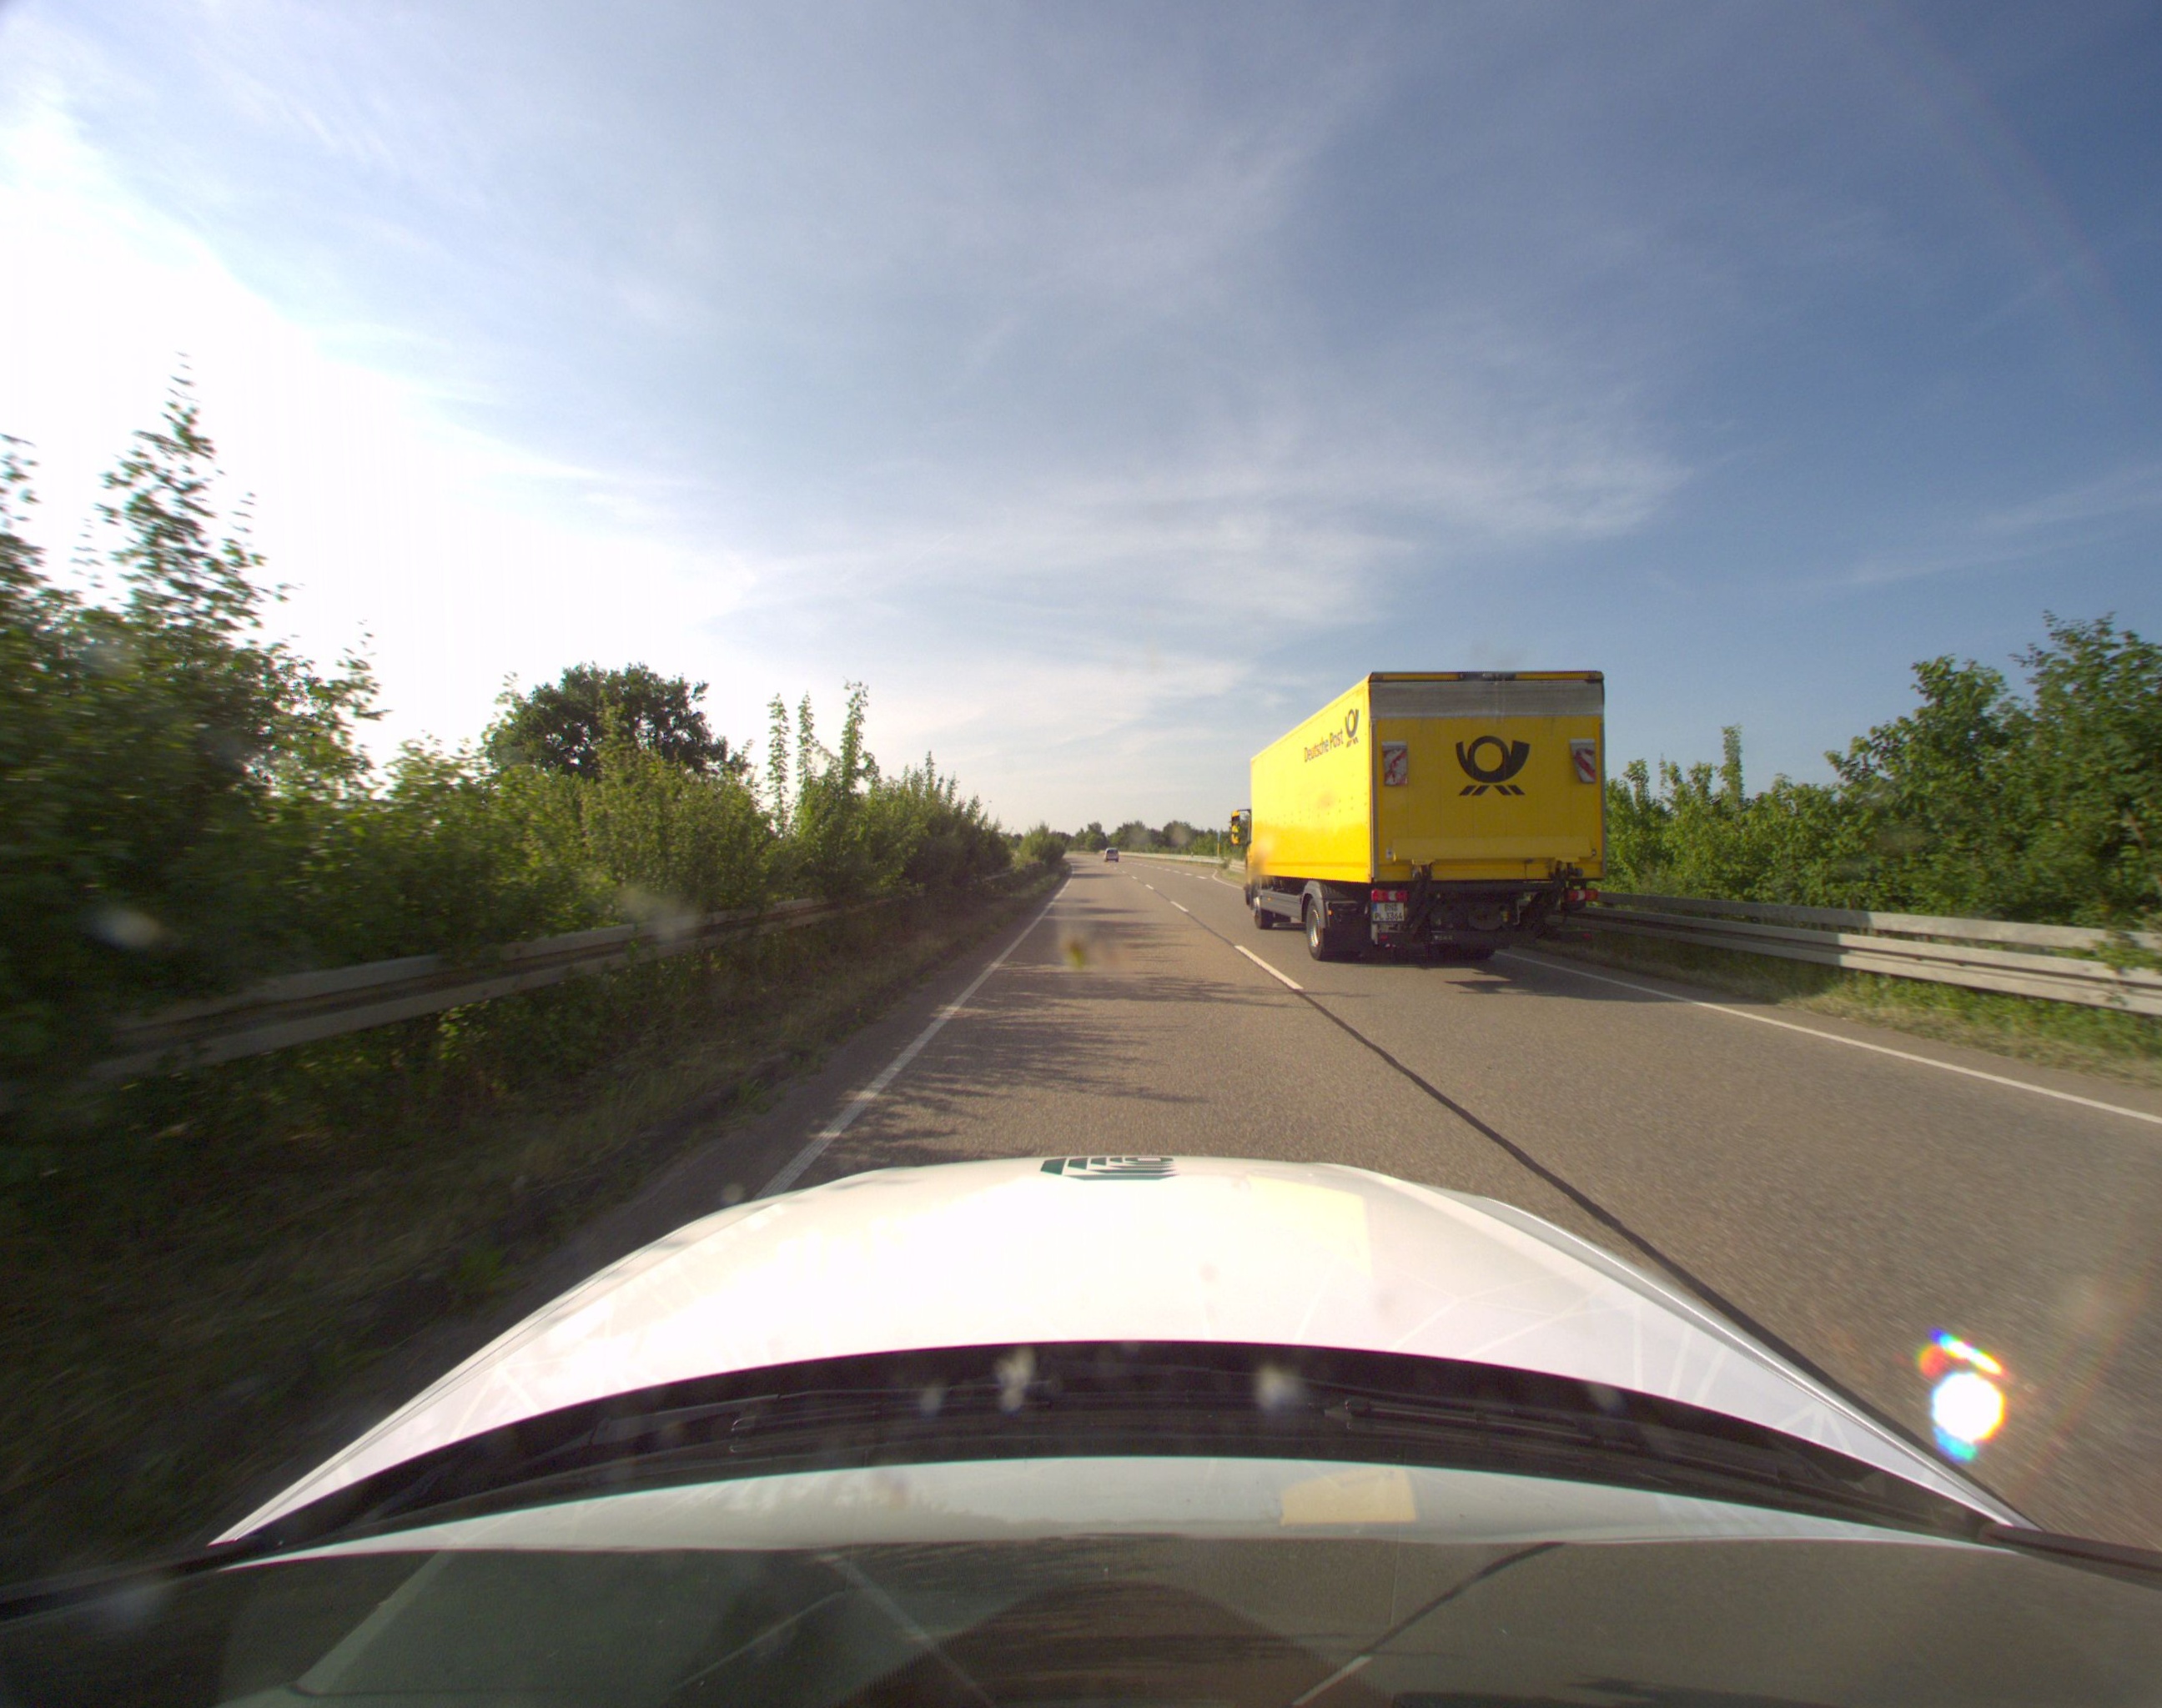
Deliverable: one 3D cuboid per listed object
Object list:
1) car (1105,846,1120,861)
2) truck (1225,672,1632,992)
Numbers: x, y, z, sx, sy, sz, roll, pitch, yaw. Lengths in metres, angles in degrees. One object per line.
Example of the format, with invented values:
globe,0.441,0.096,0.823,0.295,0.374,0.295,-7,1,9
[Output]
car,4.106,-0.051,106.385,1.760,1.882,3.999,-1,0,0
truck,4.549,-0.257,13.748,2.768,3.316,10.496,-1,0,2
